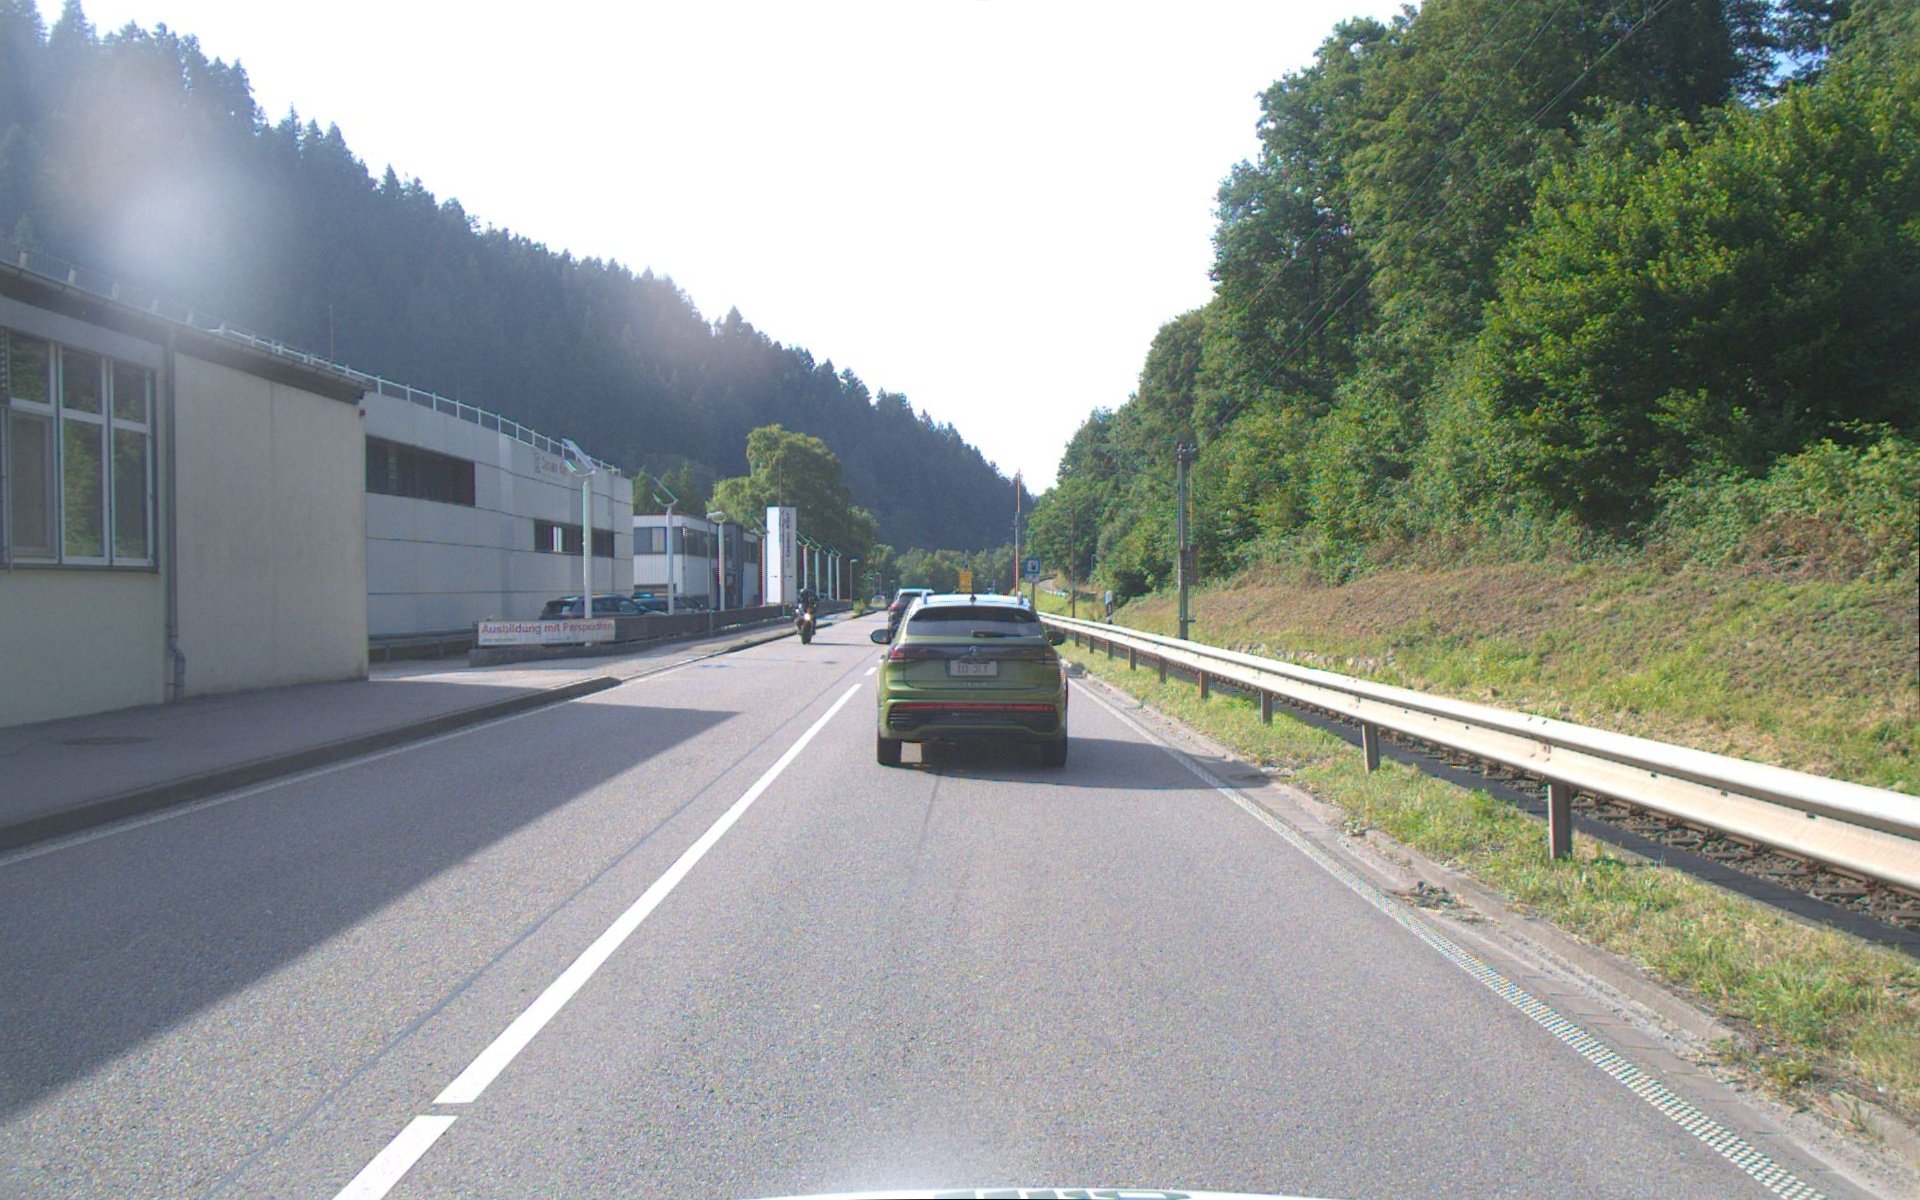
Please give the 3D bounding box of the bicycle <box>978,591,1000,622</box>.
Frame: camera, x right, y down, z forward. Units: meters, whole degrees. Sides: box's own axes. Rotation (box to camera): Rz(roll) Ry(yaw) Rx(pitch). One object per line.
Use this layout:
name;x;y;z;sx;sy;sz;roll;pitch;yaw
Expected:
bicycle;1.229;0.258;70.016;0.795;1.272;2.122;0;0;-3

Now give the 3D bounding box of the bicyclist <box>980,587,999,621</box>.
bicyclist;1.244;0.164;70.023;0.766;1.436;0.675;0;0;-3

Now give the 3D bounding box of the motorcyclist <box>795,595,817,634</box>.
motorcyclist;-4.471;0.418;48.006;0.574;1.144;0.636;0;0;-1

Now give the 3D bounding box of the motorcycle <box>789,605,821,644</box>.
motorcycle;-4.517;0.702;48.234;0.726;1.087;2.492;0;0;-1

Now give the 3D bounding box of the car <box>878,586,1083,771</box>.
car;0.123;0.644;15.745;1.704;1.534;3.999;0;0;-2

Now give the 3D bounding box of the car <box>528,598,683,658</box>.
car;-10.208;0.771;47.865;1.854;1.619;4.152;0;0;41

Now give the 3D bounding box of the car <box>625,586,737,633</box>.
car;-10.644;0.344;63.219;1.749;1.738;4.088;0;0;41

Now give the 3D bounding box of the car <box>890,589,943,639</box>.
car;-1.479;0.457;56.142;1.704;1.630;3.999;0;0;-2

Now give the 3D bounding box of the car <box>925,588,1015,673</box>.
car;0.146;0.586;33.792;1.704;1.630;3.999;0;0;-2
